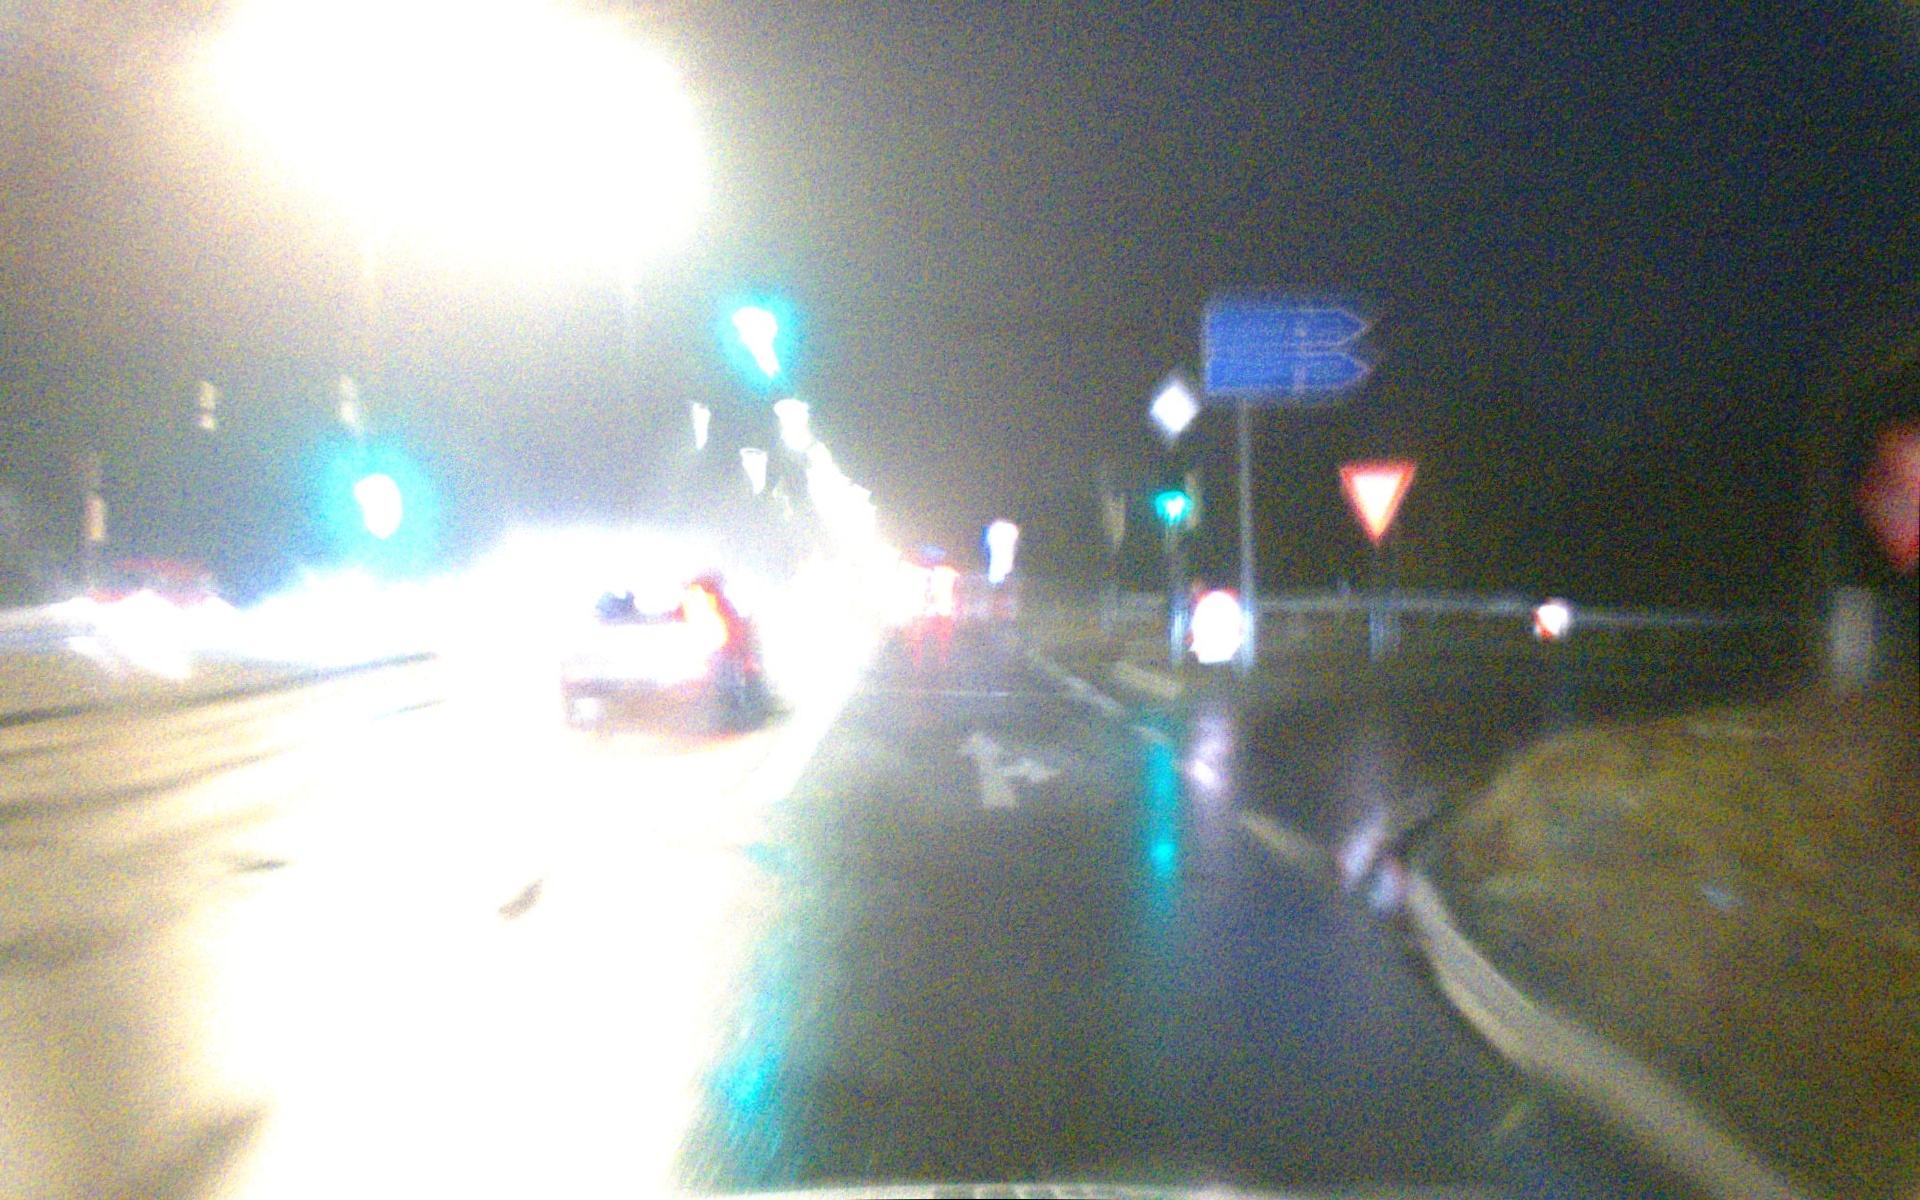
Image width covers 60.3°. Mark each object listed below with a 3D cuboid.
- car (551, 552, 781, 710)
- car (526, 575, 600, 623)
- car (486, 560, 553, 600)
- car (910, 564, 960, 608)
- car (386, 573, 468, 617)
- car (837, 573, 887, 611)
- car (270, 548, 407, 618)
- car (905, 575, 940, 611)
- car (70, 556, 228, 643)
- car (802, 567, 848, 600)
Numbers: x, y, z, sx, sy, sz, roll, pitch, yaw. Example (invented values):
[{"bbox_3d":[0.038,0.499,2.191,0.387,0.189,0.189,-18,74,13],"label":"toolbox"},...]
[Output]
[{"bbox_3d":[-3.076,0.285,18.133,1.760,1.477,4.268,2,0,-1],"label":"car"},{"bbox_3d":[-12.617,-0.067,52.749,1.557,1.452,3.350,0,1,0],"label":"car"},{"bbox_3d":[-16.865,-0.779,63.533,1.631,1.473,3.819,0,1,-1],"label":"car"},{"bbox_3d":[-1.053,-0.579,72.258,1.871,1.629,4.000,4,-2,2],"label":"car"},{"bbox_3d":[-19.805,-0.157,61.592,1.811,1.482,4.094,2,-2,-2],"label":"car"},{"bbox_3d":[-4.830,-0.373,81.840,2.134,1.629,3.999,4,-2,-1],"label":"car"},{"bbox_3d":[-15.547,-0.408,41.606,1.745,1.636,4.244,1,0,1],"label":"car"},{"bbox_3d":[-2.312,-0.403,102.590,1.954,1.870,3.998,5,-2,-1],"label":"car"},{"bbox_3d":[-18.954,-0.049,38.860,1.726,1.925,4.205,0,1,-1],"label":"car"},{"bbox_3d":[-7.968,-0.934,98.014,2.133,1.629,4.000,4,-2,2],"label":"car"}]
